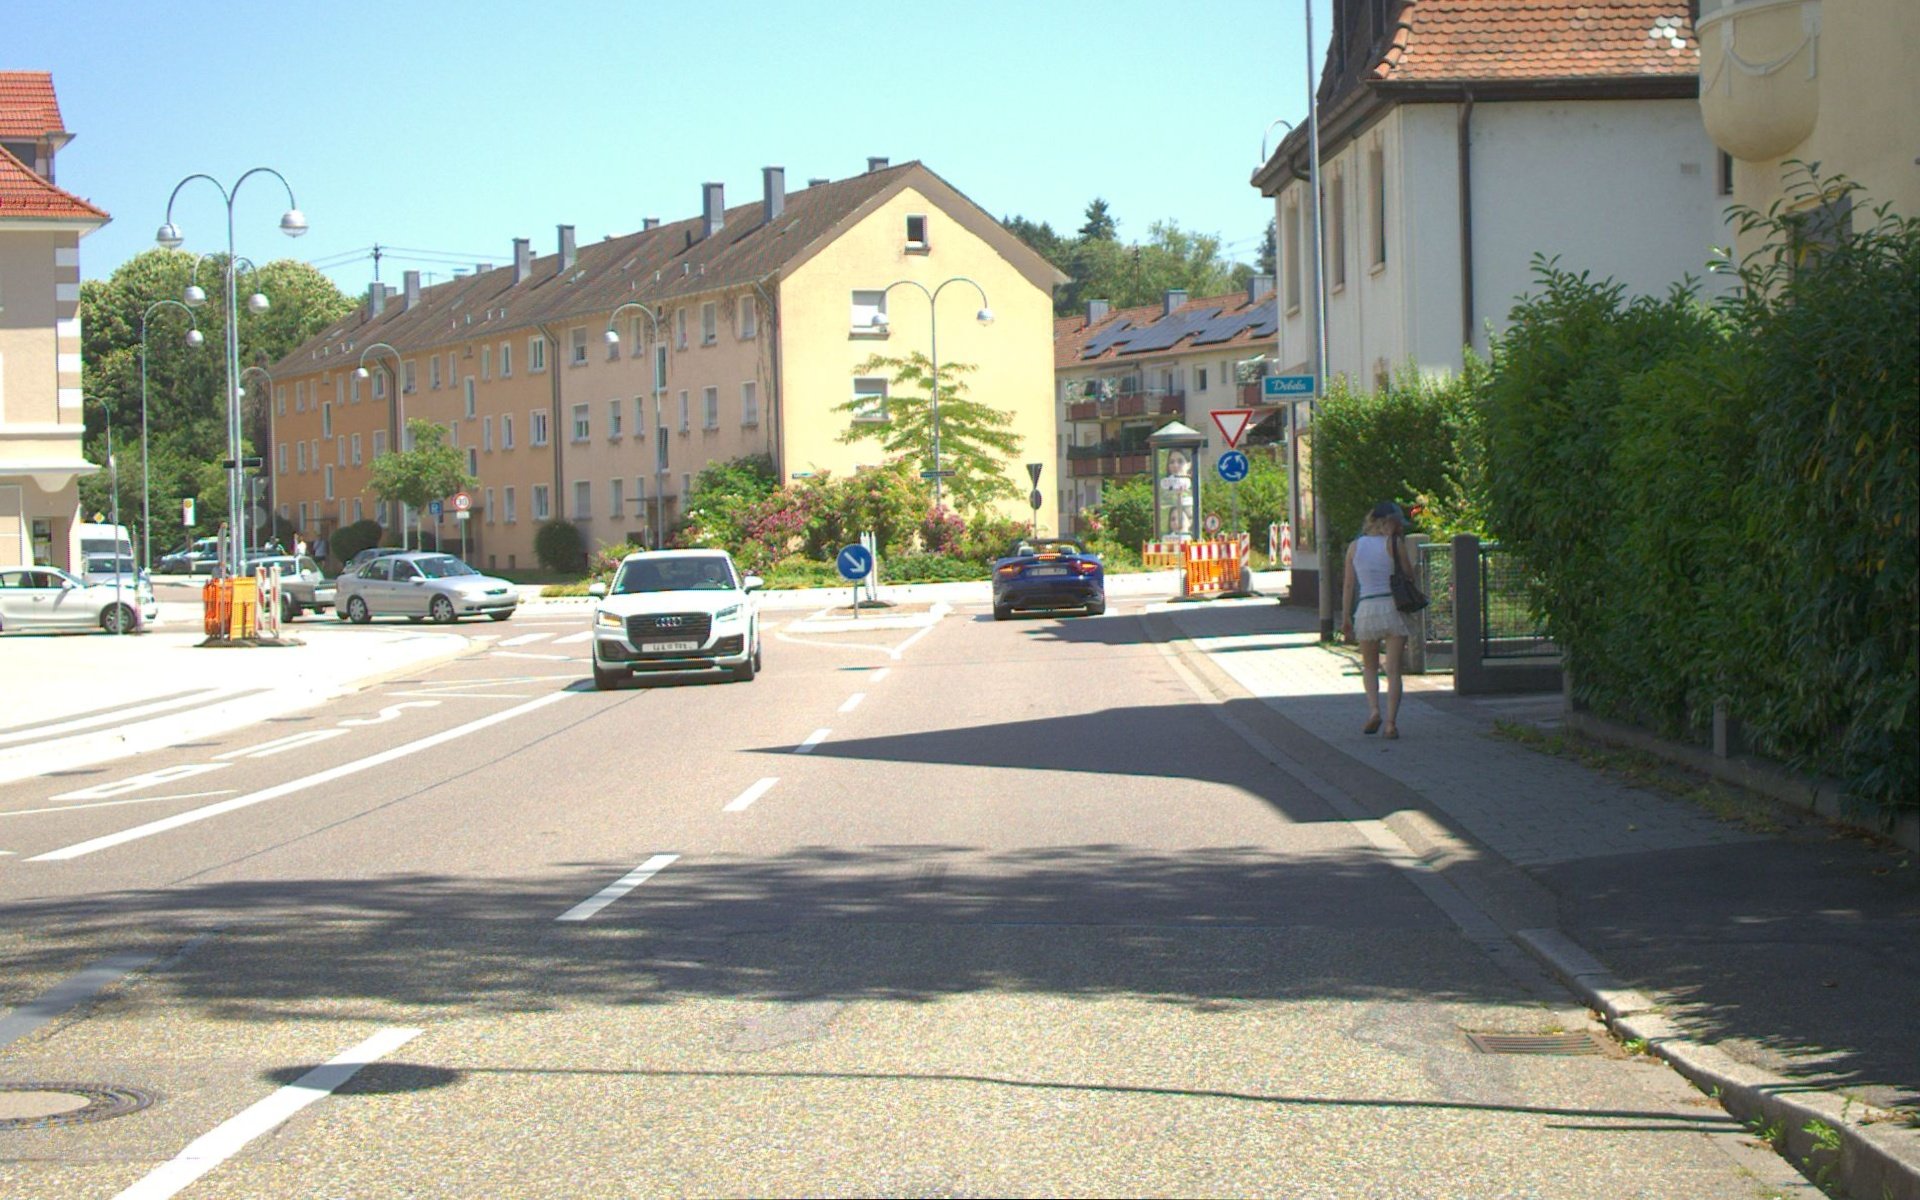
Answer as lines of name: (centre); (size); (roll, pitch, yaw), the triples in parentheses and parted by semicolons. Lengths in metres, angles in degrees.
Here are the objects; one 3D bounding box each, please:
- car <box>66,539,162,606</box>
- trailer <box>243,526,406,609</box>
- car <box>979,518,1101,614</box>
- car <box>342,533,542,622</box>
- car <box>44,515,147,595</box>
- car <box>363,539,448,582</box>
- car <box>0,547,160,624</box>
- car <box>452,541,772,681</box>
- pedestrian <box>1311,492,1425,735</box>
car: (-22.400, -0.729, 90.915); (1.775, 1.680, 4.695); (-1, 1, -22)
trailer: (-13.341, -0.681, 72.116); (3.195, 1.711, 1.752); (1, 1, 41)
car: (1.335, -0.552, 59.171); (1.870, 1.525, 4.507); (-1, 0, -1)
car: (-10.518, -0.468, 69.661); (4.125, 1.741, 1.783); (1, 1, 41)
car: (-28.346, -1.452, 112.584); (2.144, 2.524, 6.239); (0, 0, -24)
car: (-19.593, -1.370, 121.348); (1.812, 1.495, 4.000); (0, 0, -28)
car: (-18.424, -0.301, 69.963); (4.114, 1.545, 1.788); (0, 0, -11)
car: (-4.046, 0.147, 39.479); (1.821, 1.525, 3.949); (-1, -1, -38)
pedestrian: (2.816, 0.087, 23.779); (0.623, 1.638, 0.772); (-2, 0, -2)
